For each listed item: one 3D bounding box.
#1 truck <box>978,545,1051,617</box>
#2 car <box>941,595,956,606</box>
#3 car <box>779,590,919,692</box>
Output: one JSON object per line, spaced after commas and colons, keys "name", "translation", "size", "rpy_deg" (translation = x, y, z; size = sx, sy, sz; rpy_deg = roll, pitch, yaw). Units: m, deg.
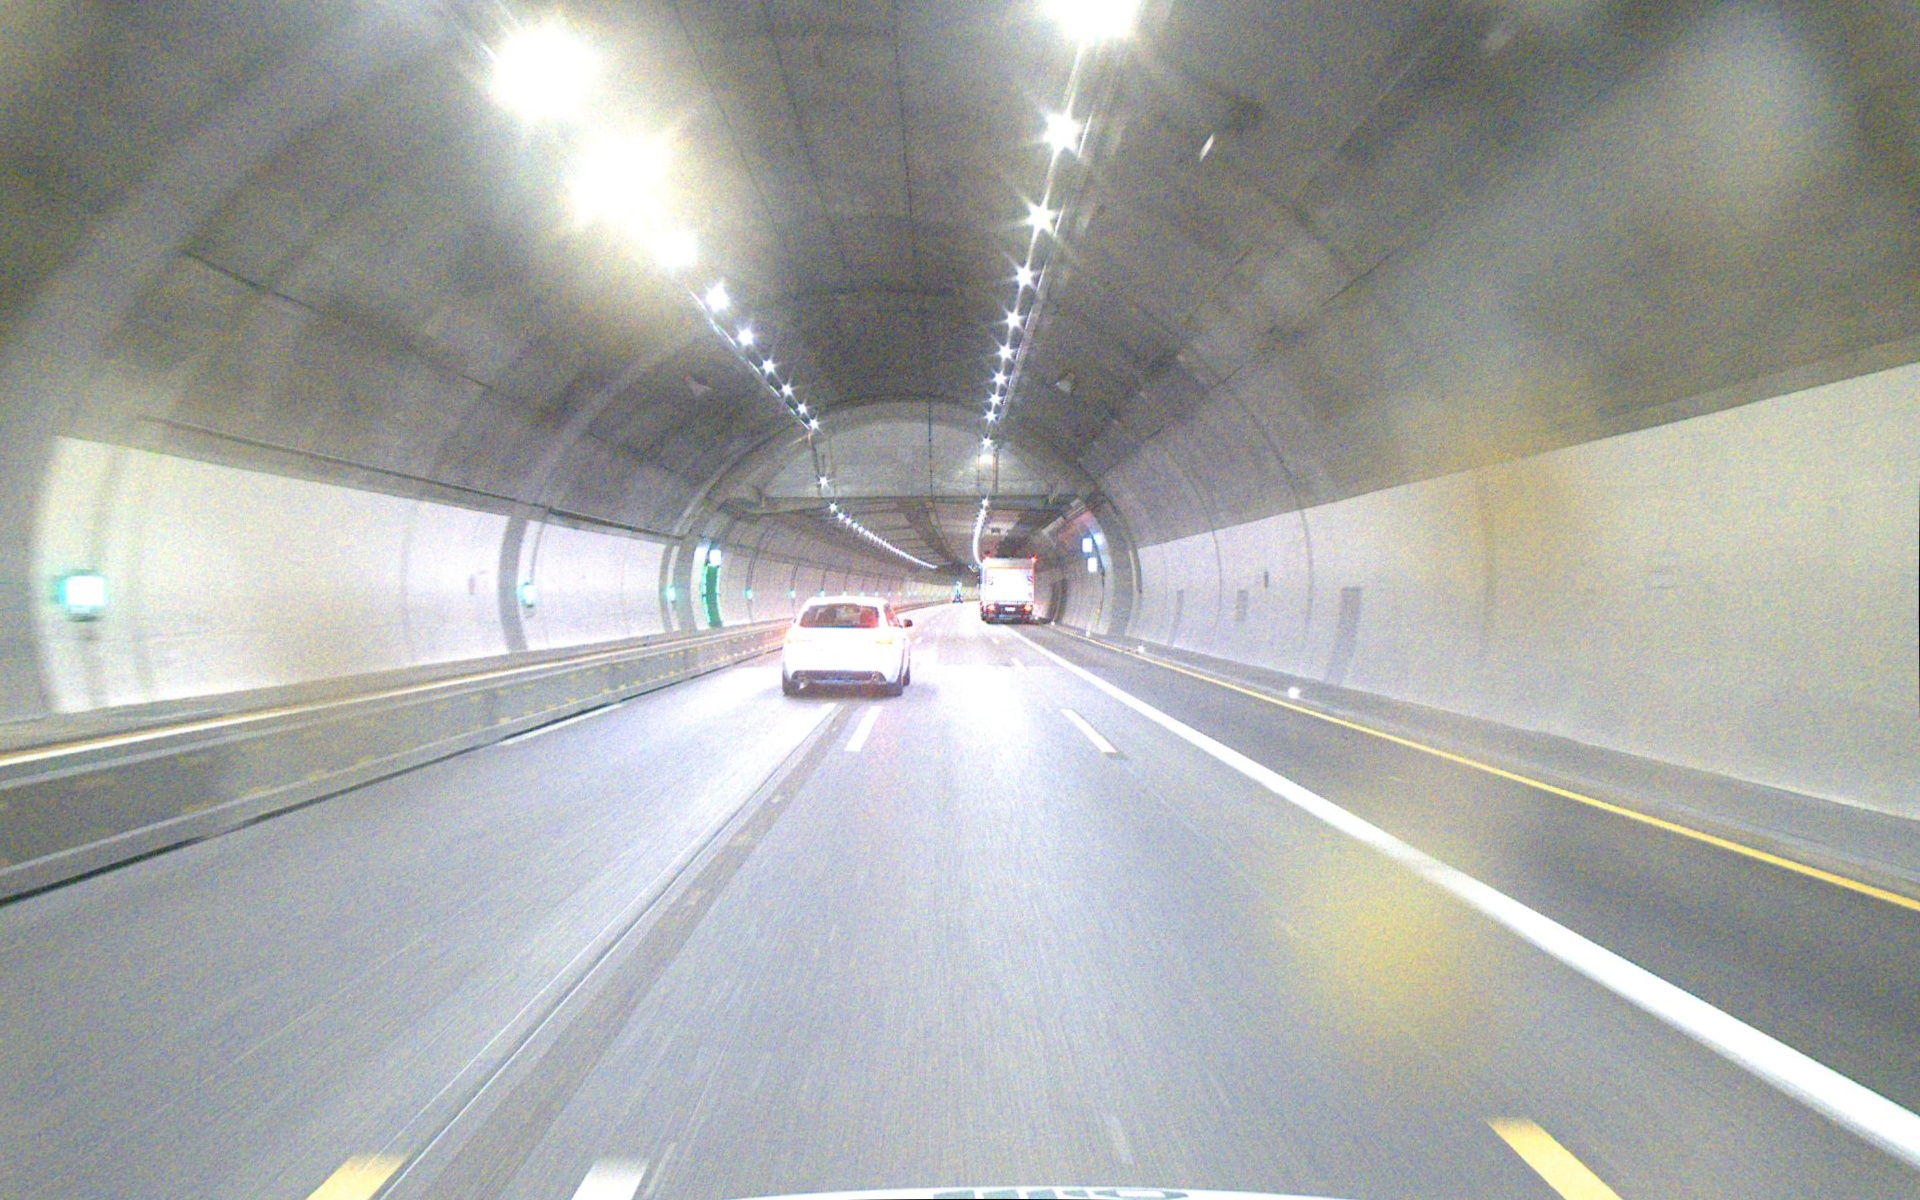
{"name": "truck", "translation": [2.904, -0.994, 91.552], "size": [3.519, 3.714, 10.720], "rpy_deg": [1, 0, -1]}
{"name": "car", "translation": [-1.693, 0.094, 249.311], "size": [1.952, 1.545, 4.002], "rpy_deg": [1, 0, 4]}
{"name": "car", "translation": [-1.653, 0.577, 26.158], "size": [1.953, 1.437, 4.741], "rpy_deg": [1, 0, -1]}
